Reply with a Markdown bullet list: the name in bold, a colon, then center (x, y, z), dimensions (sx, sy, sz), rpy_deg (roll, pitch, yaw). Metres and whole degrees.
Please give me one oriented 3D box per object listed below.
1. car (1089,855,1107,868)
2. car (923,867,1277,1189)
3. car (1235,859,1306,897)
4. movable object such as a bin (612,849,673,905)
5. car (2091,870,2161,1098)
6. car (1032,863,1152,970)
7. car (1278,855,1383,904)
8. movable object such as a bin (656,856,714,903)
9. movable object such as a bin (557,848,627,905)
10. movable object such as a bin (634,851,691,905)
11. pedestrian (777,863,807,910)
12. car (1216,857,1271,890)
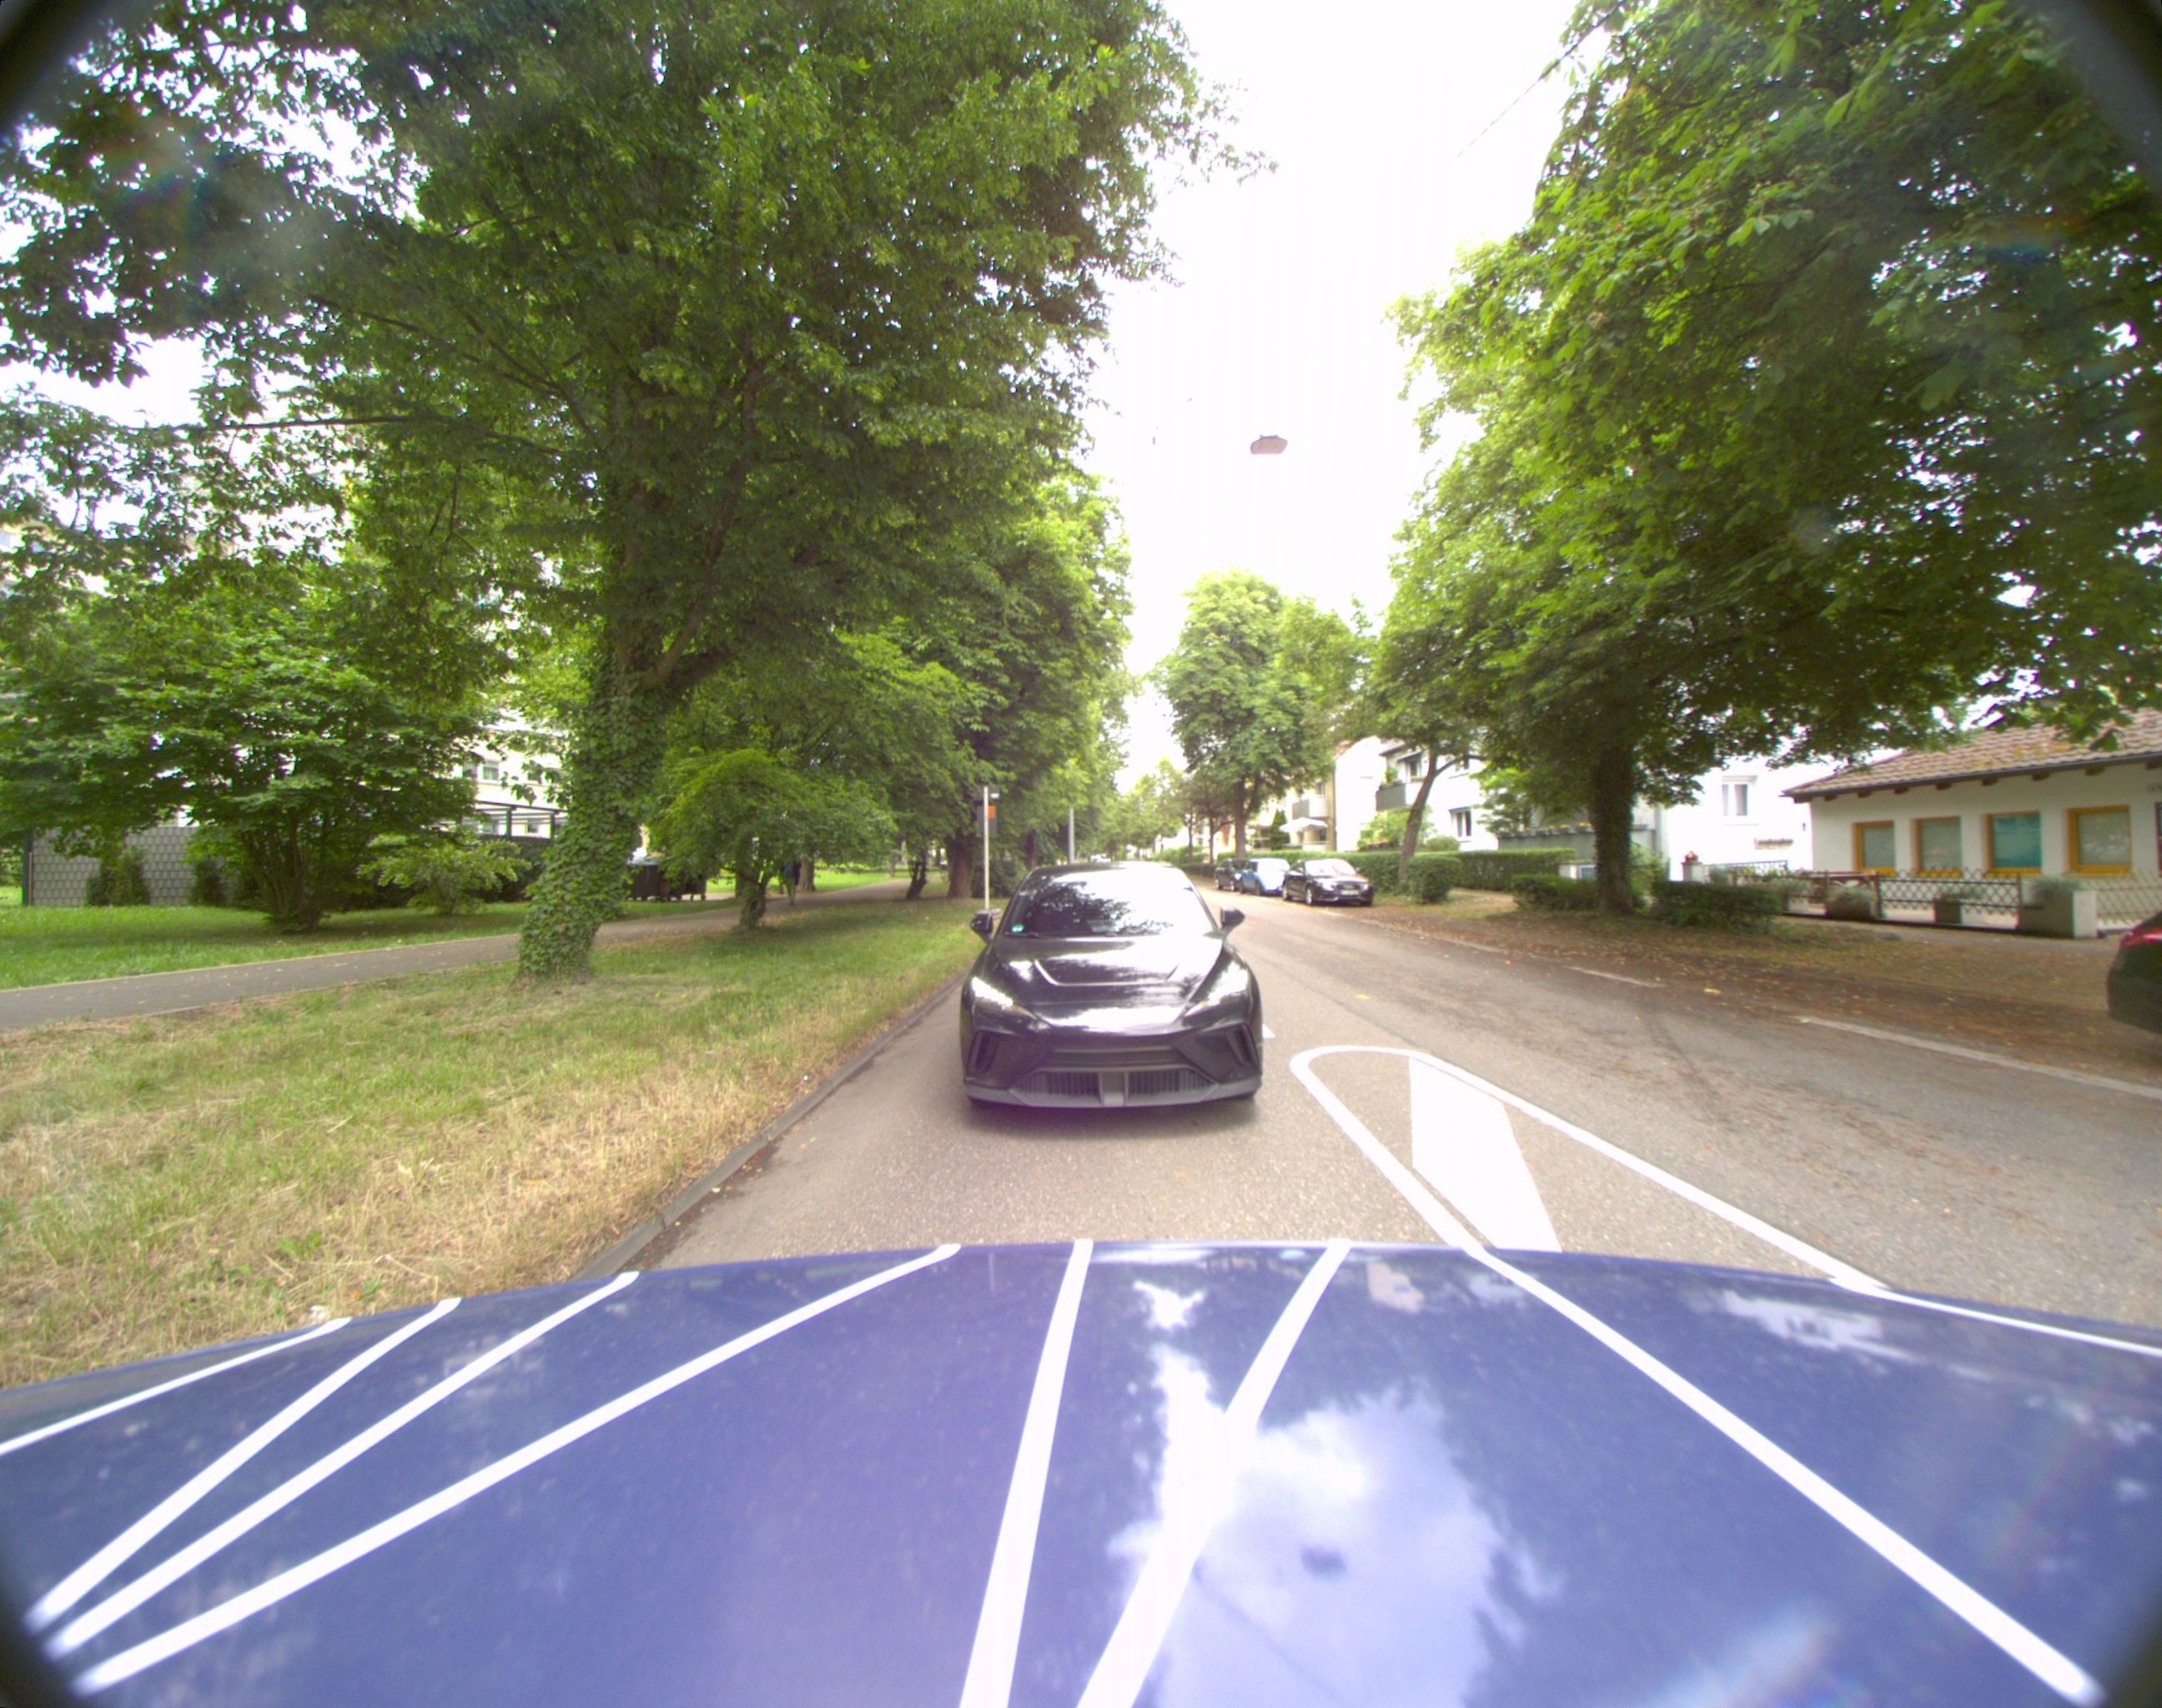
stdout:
- **car**: center (2.030, 0.894, 91.772), dimensions (1.998, 1.586, 4.000), rpy_deg (0, 0, 0)
- **car**: center (0.215, 0.945, 6.079), dimensions (1.803, 1.541, 4.299), rpy_deg (-1, 1, 3)
- **car**: center (7.244, 0.874, 29.400), dimensions (1.637, 1.368, 4.151), rpy_deg (0, -1, -1)
- **movable object such as a bin**: center (-13.210, 0.685, 22.926), dimensions (1.278, 1.633, 1.020), rpy_deg (1, 1, -4)
- **car**: center (7.752, 0.833, 2.873), dimensions (1.749, 1.442, 4.593), rpy_deg (0, 0, 0)
- **car**: center (0.224, 0.973, 13.523), dimensions (1.814, 1.520, 4.000), rpy_deg (0, 1, 1)
- **car**: center (7.542, 0.743, 23.424), dimensions (1.852, 1.368, 4.594), rpy_deg (0, -1, 2)
- **movable object such as a bin**: center (-13.243, 0.838, 25.448), dimensions (1.328, 1.466, 1.201), rpy_deg (1, 1, -3)
- **movable object such as a bin**: center (-14.673, 0.651, 22.818), dimensions (1.435, 1.633, 1.020), rpy_deg (1, 1, -4)
- **movable object such as a bin**: center (-13.321, 0.749, 24.243), dimensions (1.240, 1.633, 1.075), rpy_deg (1, 1, -4)
- **pedestrian**: center (-8.547, 0.949, 22.471), dimensions (0.689, 1.373, 0.605), rpy_deg (-1, 1, -7)
- **car**: center (7.082, 0.816, 33.428), dimensions (1.541, 1.368, 3.771), rpy_deg (0, -1, -1)
